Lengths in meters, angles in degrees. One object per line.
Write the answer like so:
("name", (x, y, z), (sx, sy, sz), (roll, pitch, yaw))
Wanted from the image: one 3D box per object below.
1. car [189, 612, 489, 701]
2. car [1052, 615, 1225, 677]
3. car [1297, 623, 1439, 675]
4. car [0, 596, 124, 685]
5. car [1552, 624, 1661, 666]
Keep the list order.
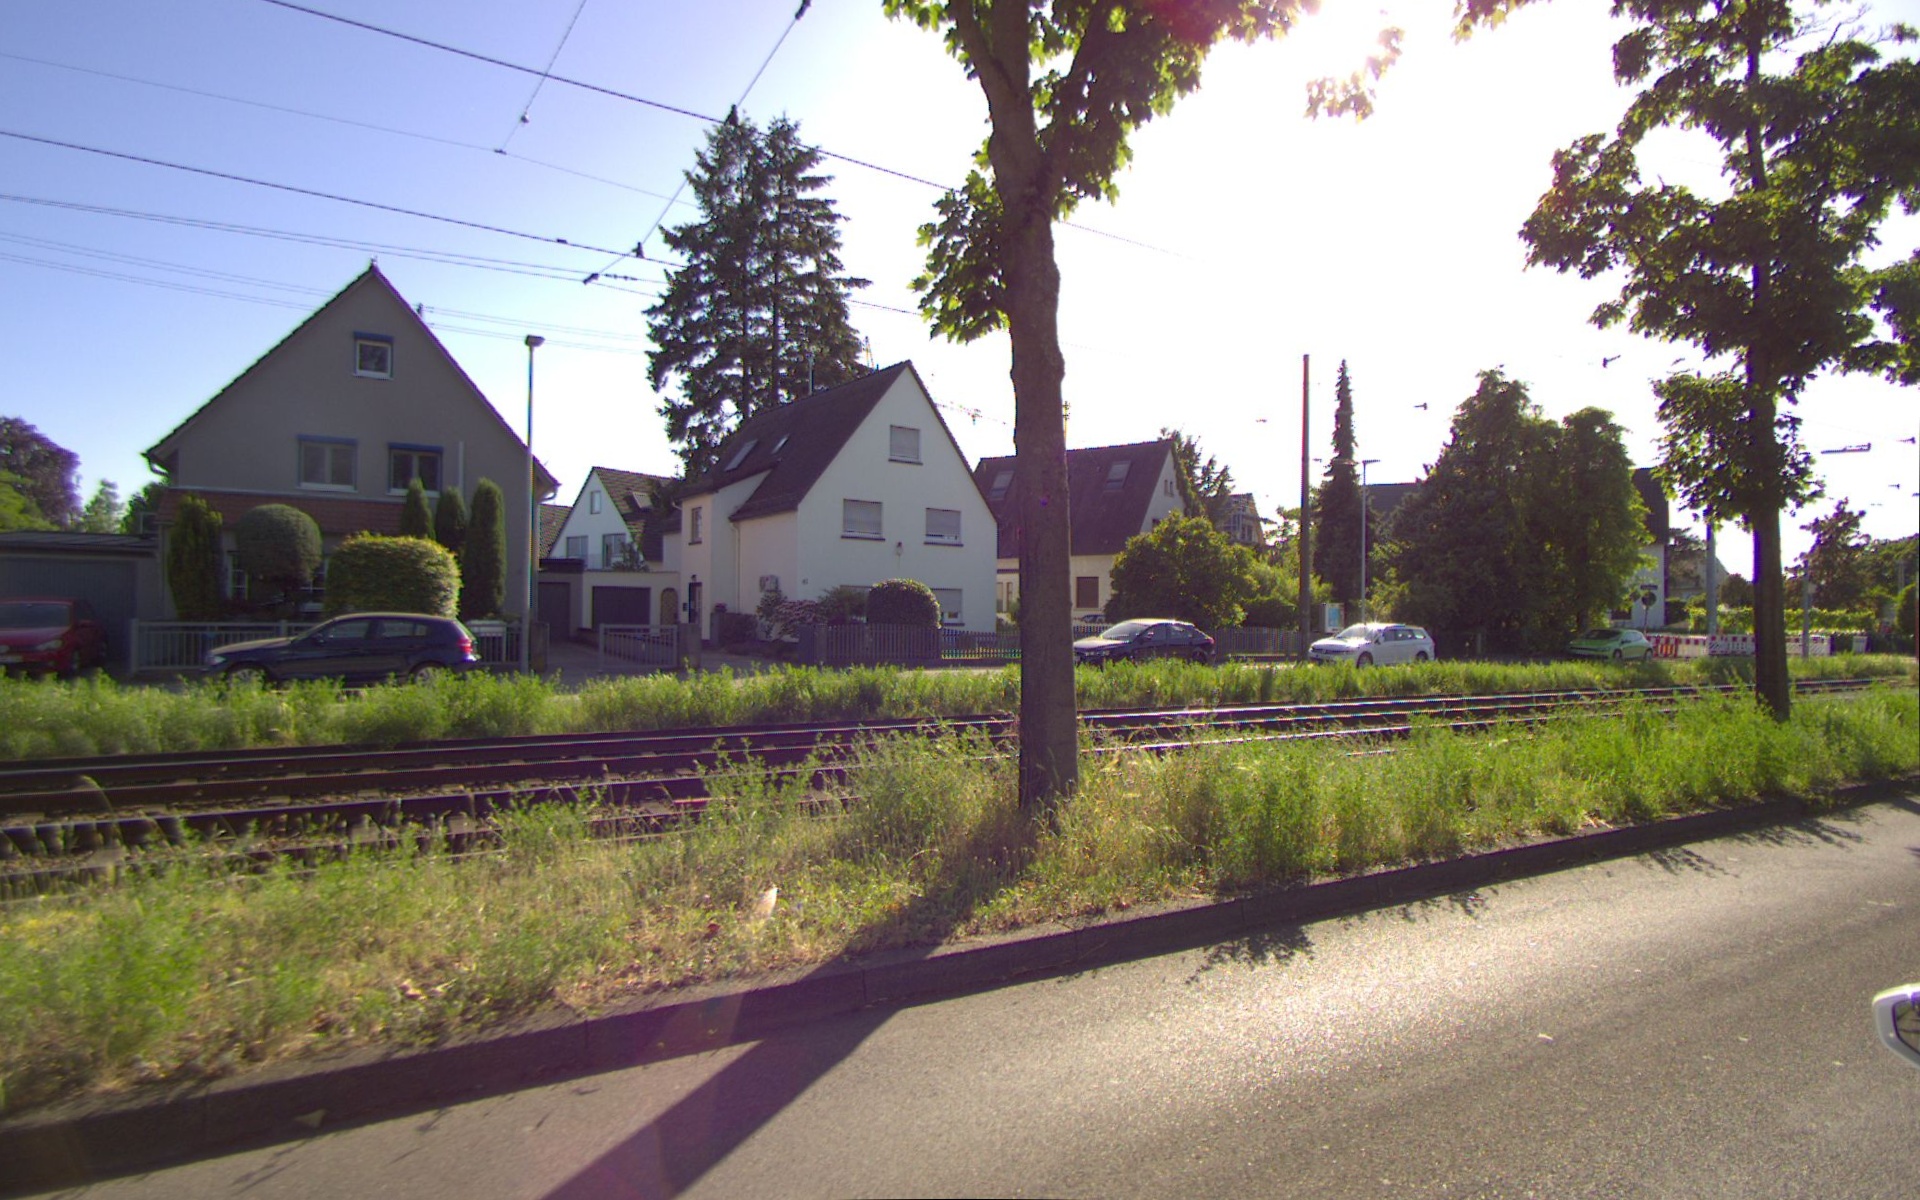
("car", (-10.730, 0.947, 17.714), (4.258, 1.389, 1.984), (1, -1, -30))
("car", (4.810, 1.217, 26.888), (4.390, 1.485, 1.898), (2, 0, -31))
("car", (13.036, 1.554, 32.017), (4.563, 1.492, 1.873), (2, 0, -32))
("car", (-18.202, 0.735, 20.004), (1.728, 1.490, 4.452), (2, 1, -31))
("car", (25.623, 1.770, 39.814), (4.020, 1.521, 1.984), (2, 0, -30))
